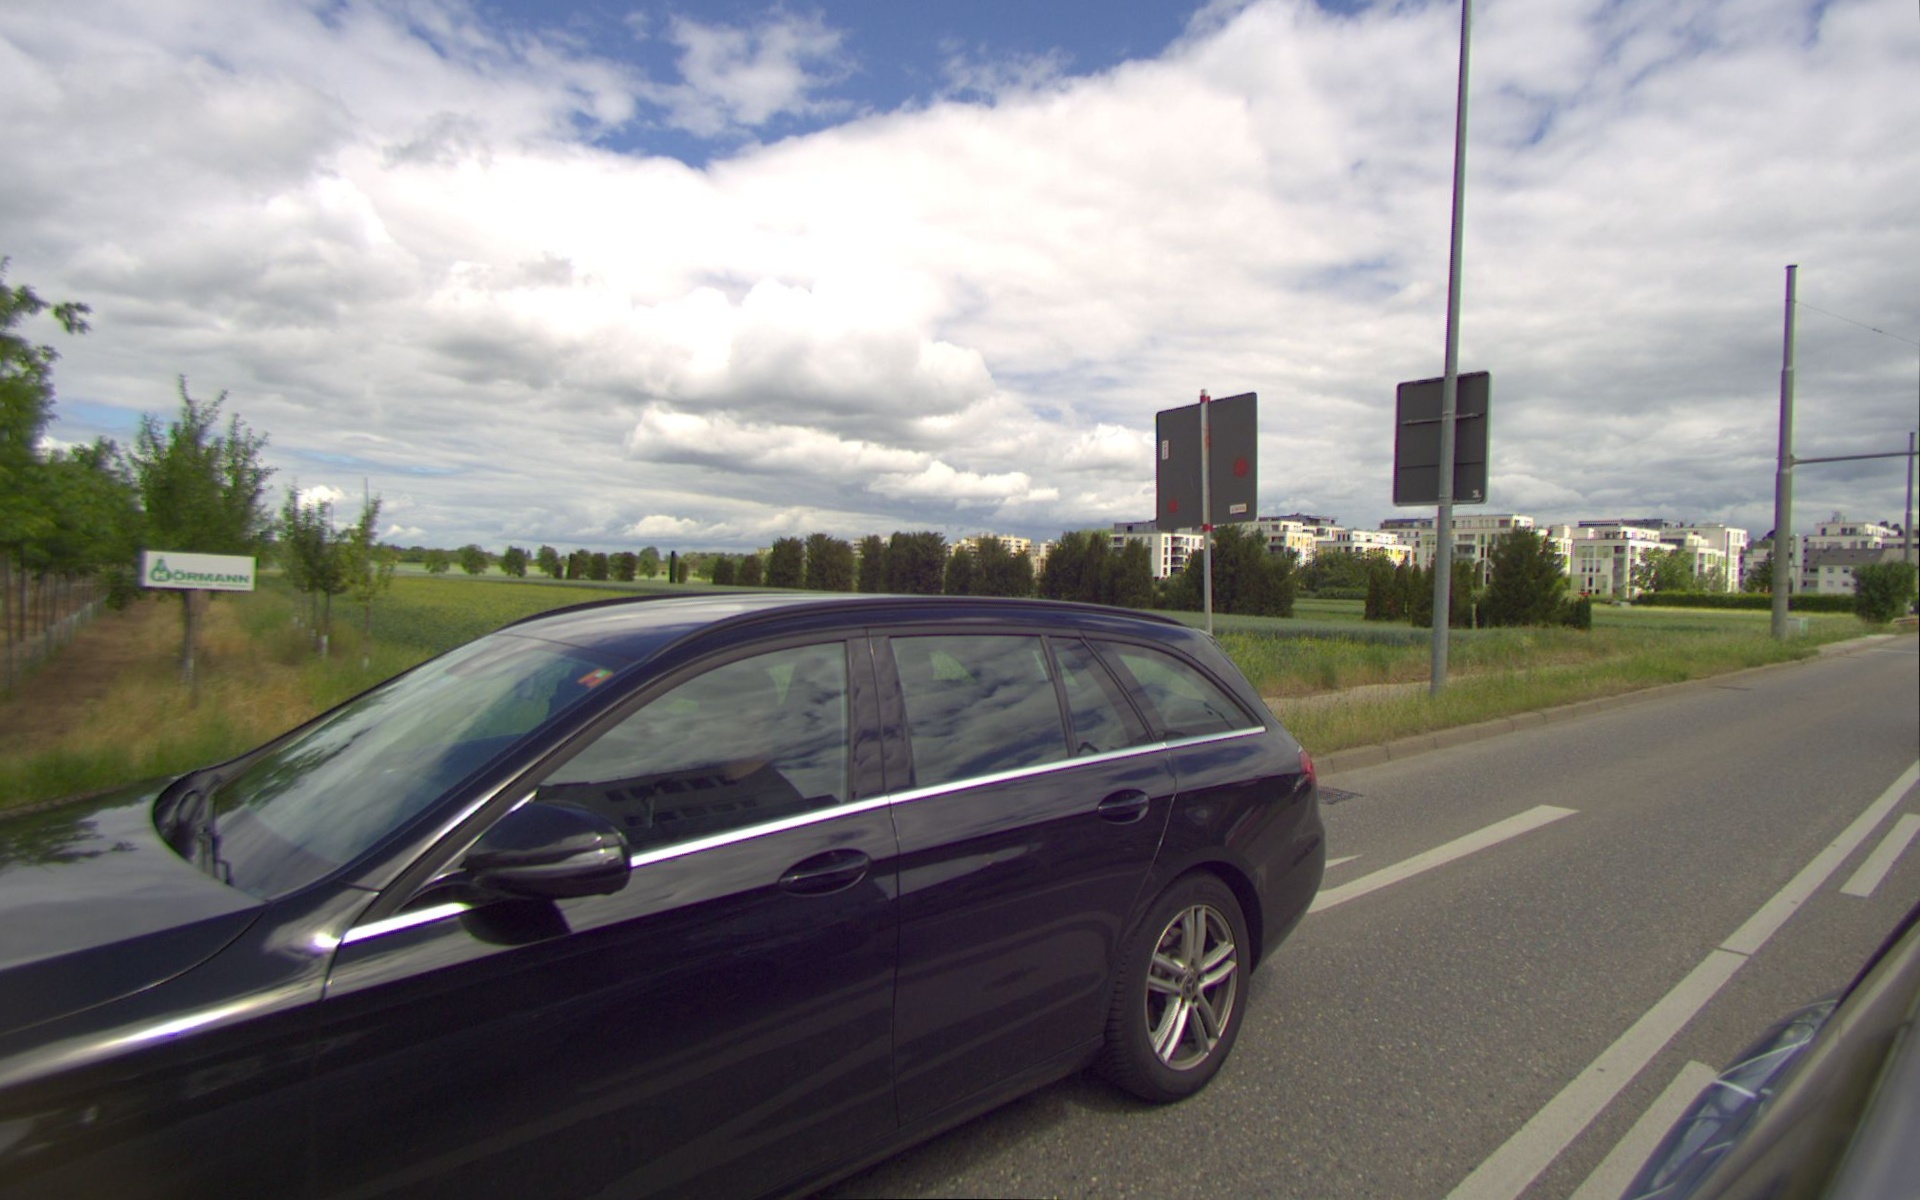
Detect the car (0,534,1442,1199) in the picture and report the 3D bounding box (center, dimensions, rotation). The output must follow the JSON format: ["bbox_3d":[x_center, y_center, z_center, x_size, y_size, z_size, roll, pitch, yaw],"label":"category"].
[{"bbox_3d":[-0.603,0.617,2.981,5.111,1.458,1.875,0,2,-43],"label":"car"}]
